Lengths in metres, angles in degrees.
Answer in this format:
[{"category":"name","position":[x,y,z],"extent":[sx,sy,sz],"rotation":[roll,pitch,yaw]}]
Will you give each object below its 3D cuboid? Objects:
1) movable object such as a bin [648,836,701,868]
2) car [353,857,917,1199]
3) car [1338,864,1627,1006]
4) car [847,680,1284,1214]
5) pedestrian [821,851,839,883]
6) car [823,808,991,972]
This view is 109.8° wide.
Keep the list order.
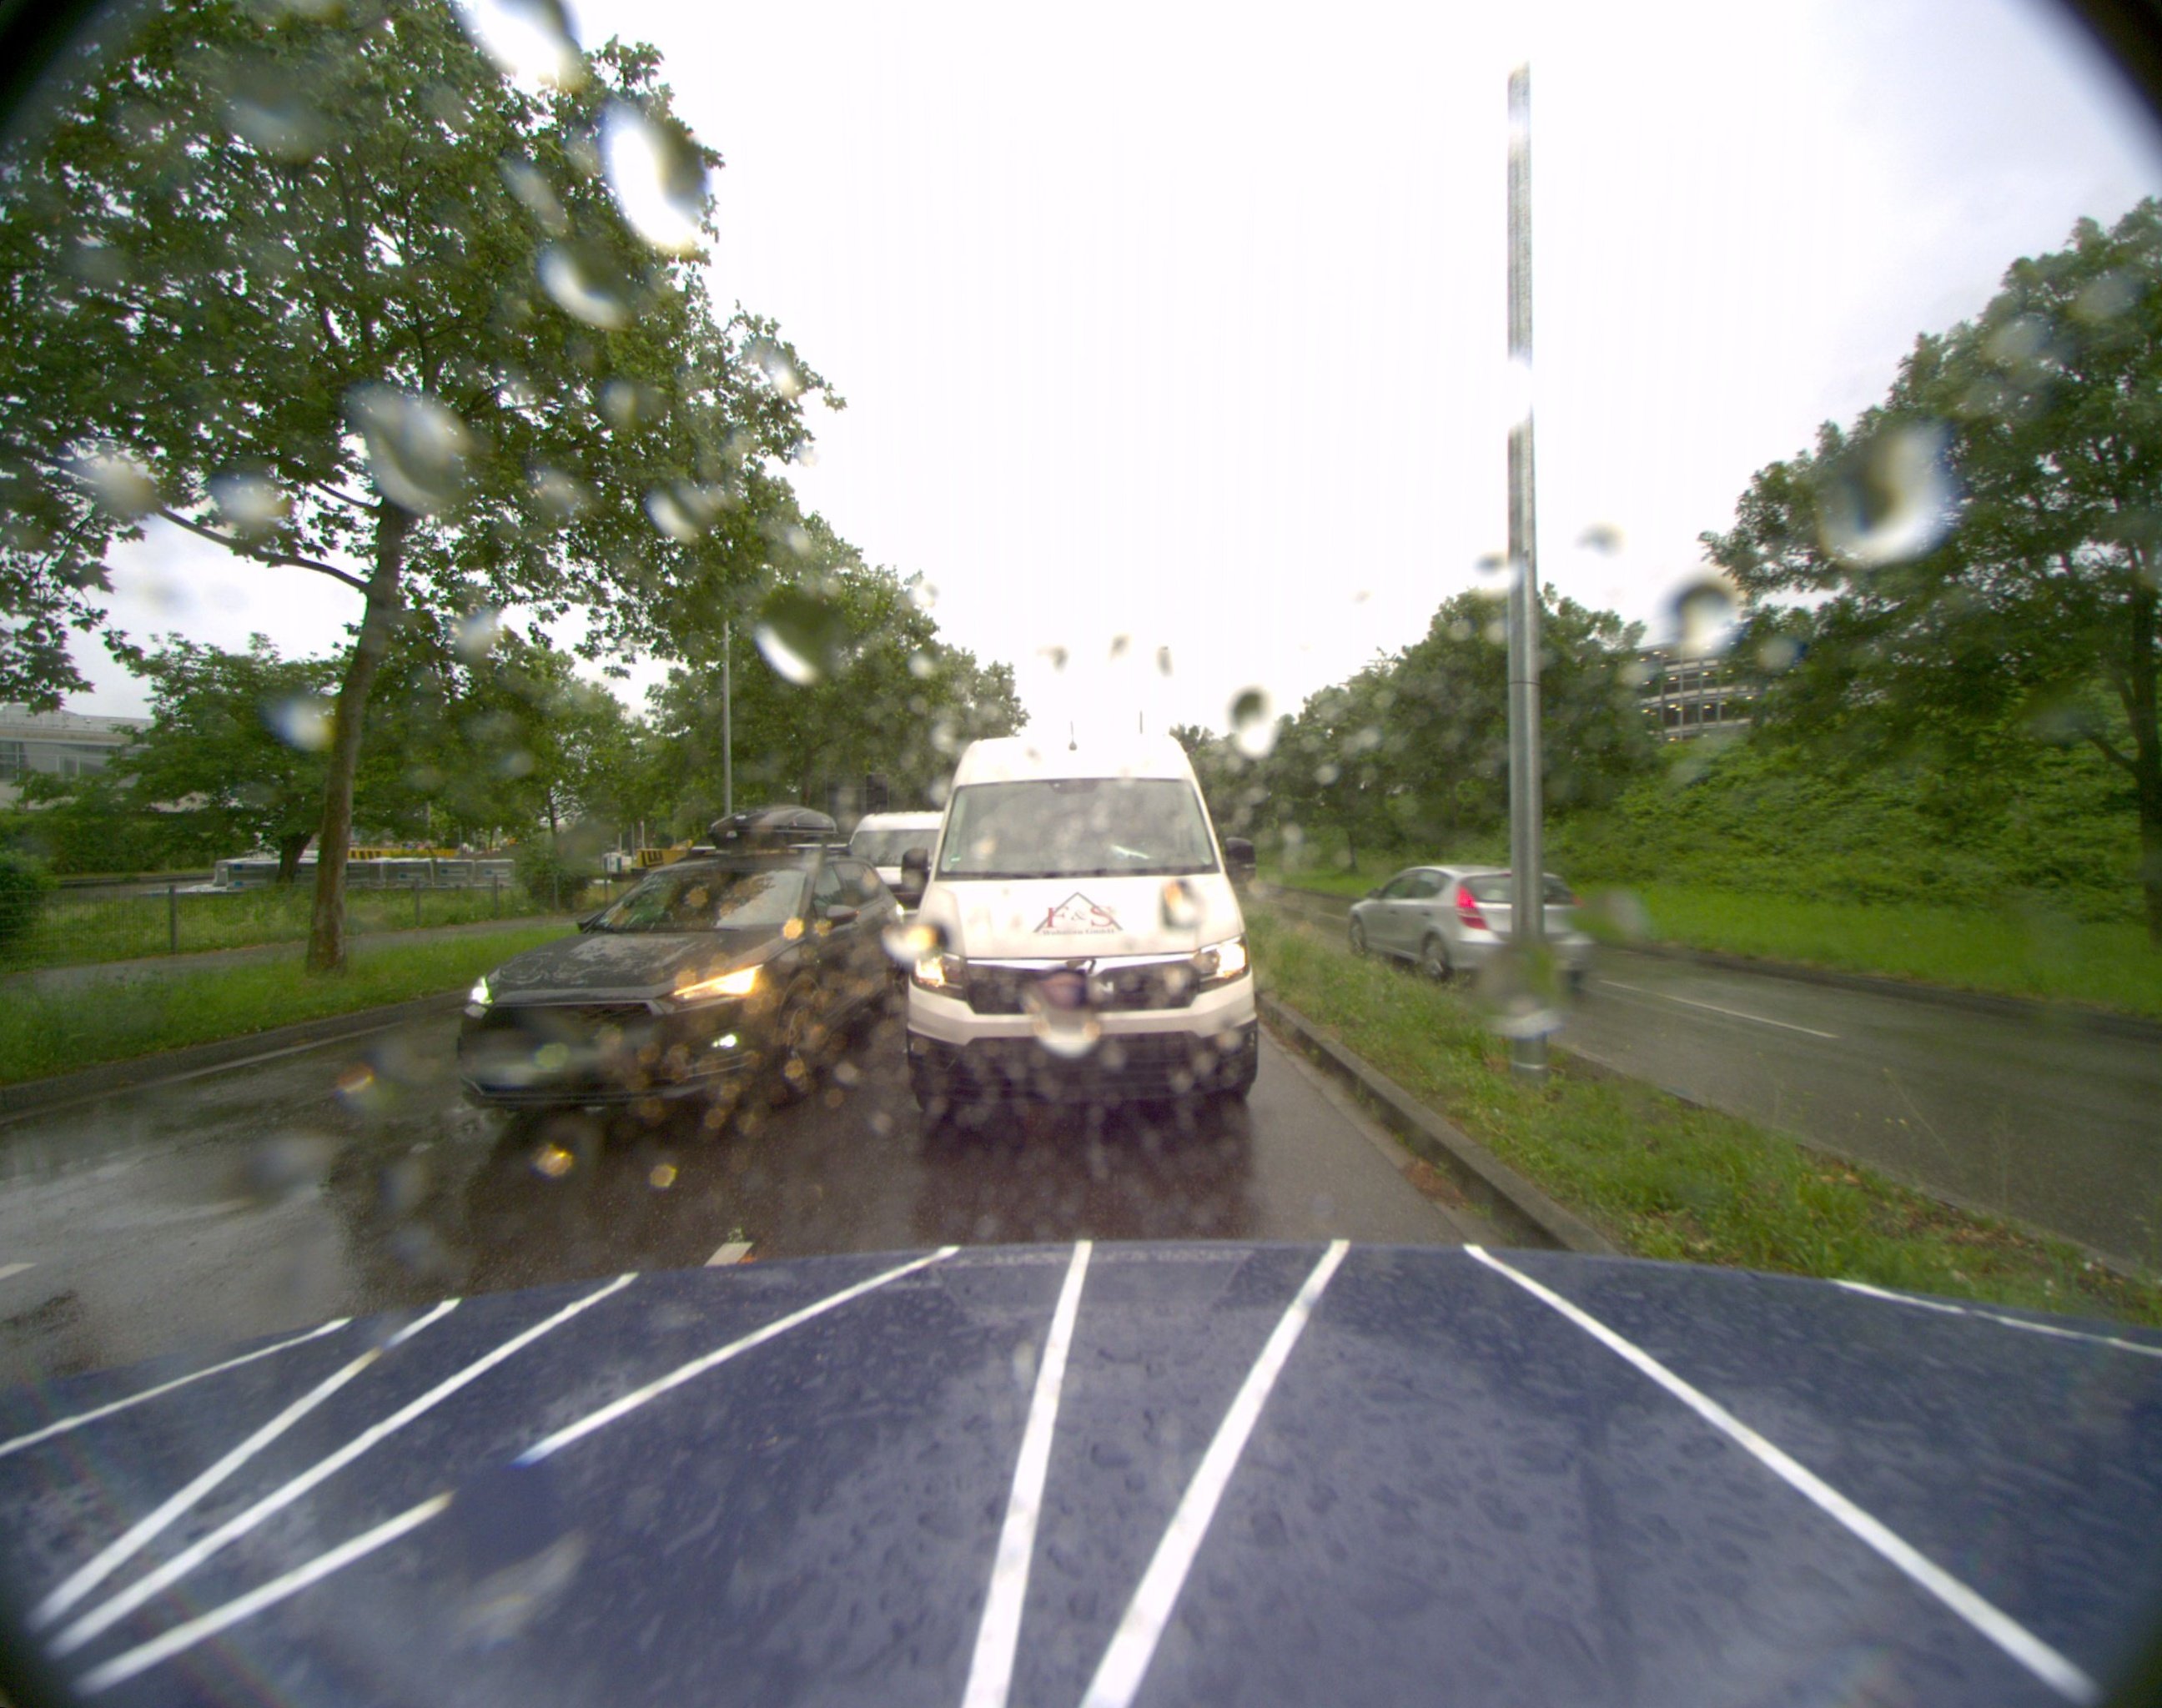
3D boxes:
[{"category":"movable object such as a bin","position":[-47.530,-0.242,88.933],"extent":[4.940,3.415,1.916],"rotation":[-2,1,-13]},{"category":"car","position":[-2.754,0.903,6.101],"extent":[1.894,1.688,4.423],"rotation":[-1,0,0]},{"category":"car","position":[5.153,0.935,10.476],"extent":[1.820,1.454,3.999],"rotation":[2,0,0]},{"category":"car","position":[-0.117,0.433,6.454],"extent":[2.027,2.498,5.695],"rotation":[-1,0,-1]},{"category":"pedestrian","position":[-13.466,0.689,40.729],"extent":[0.646,1.707,0.656],"rotation":[-2,1,1]},{"category":"car","position":[-2.923,0.533,14.033],"extent":[1.894,2.432,5.317],"rotation":[-1,0,-1]}]
